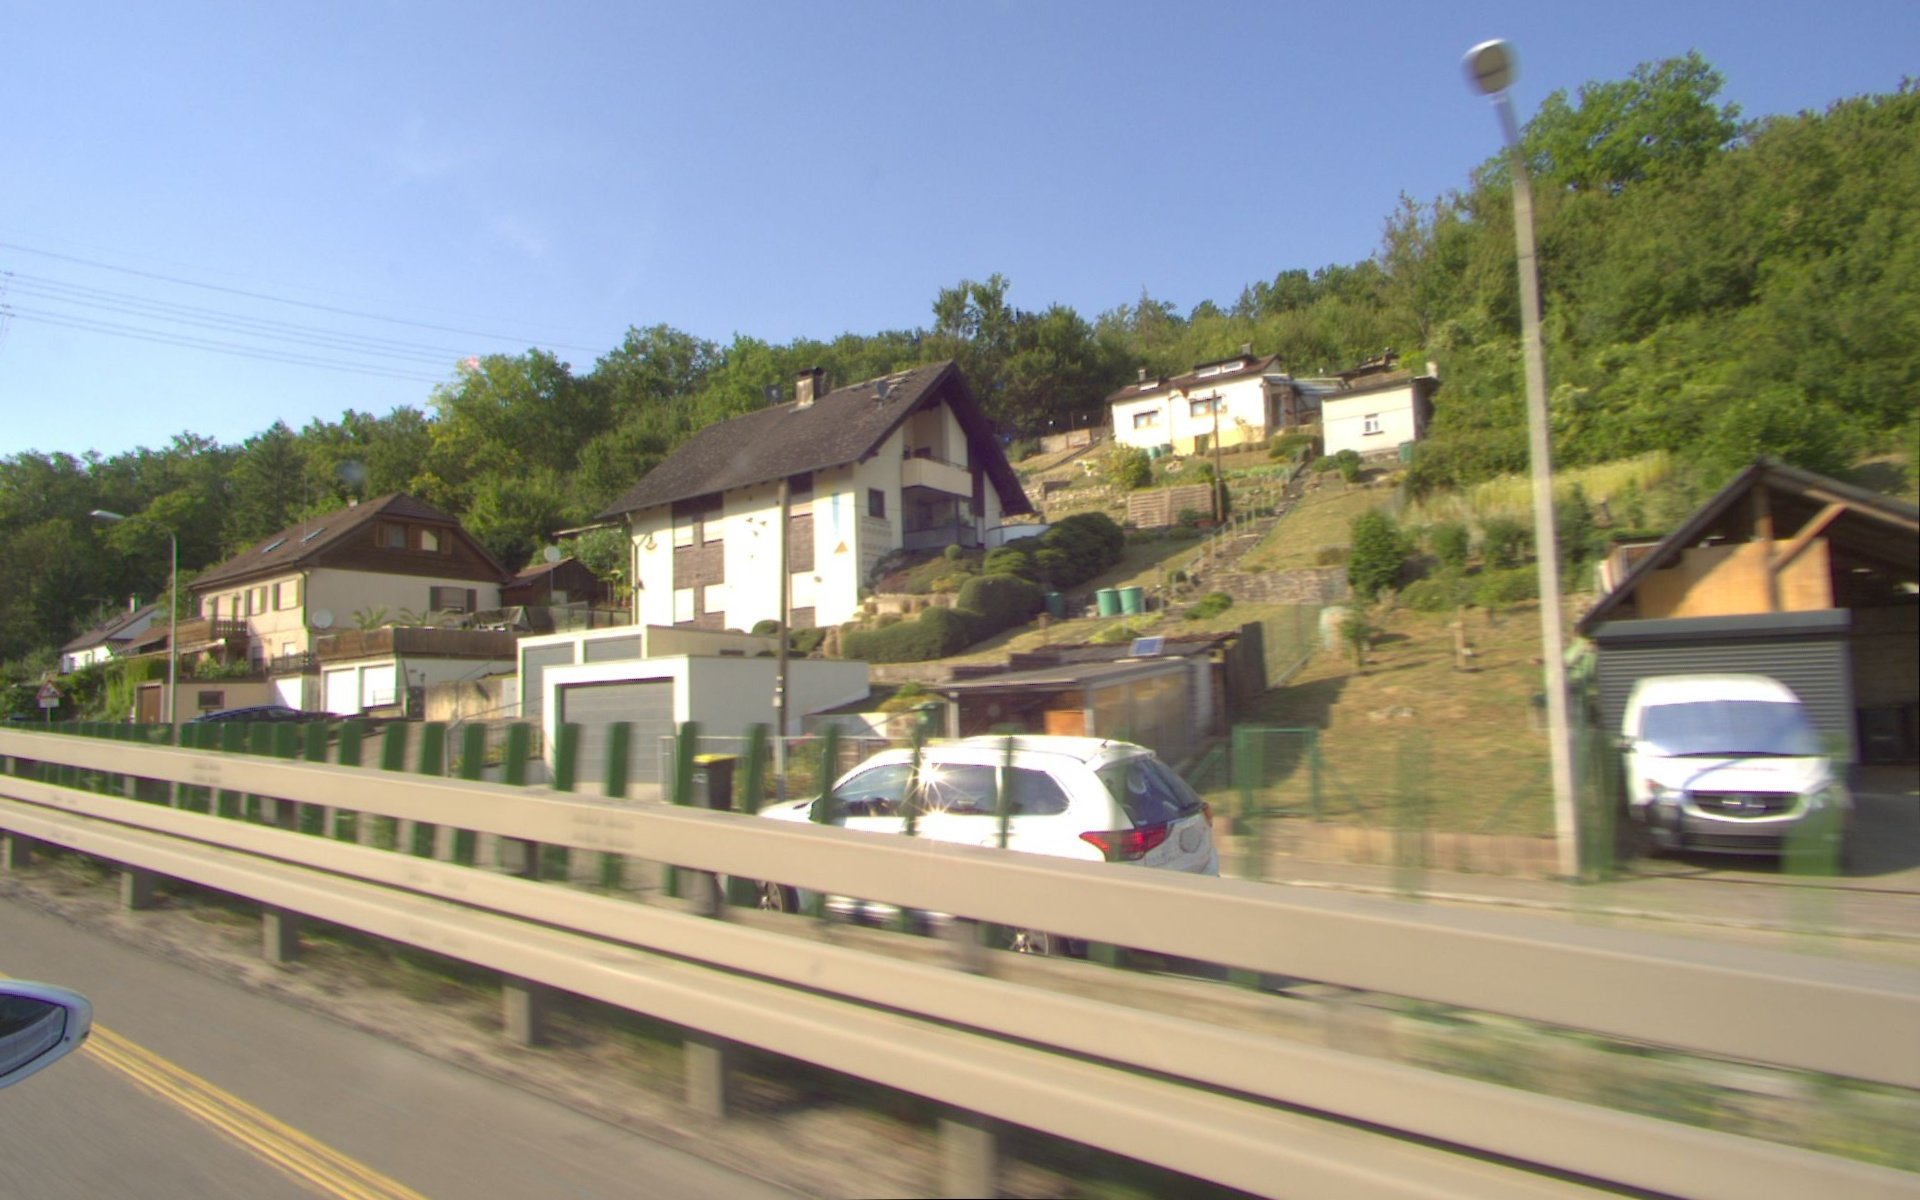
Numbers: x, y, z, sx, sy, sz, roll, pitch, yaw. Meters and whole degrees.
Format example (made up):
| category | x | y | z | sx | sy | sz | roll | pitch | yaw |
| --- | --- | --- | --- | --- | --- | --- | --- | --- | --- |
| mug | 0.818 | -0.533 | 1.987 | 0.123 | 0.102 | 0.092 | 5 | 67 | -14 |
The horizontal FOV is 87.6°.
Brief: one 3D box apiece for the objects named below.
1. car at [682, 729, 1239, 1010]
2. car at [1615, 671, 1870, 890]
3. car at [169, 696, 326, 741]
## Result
| category | x | y | z | sx | sy | sz | roll | pitch | yaw |
| --- | --- | --- | --- | --- | --- | --- | --- | --- | --- |
| car | -0.168 | 2.009 | 8.543 | 4.587 | 1.678 | 1.695 | -4 | -5 | 34 |
| car | 8.692 | 1.847 | 11.489 | 1.826 | 1.759 | 4.121 | -4 | -2 | 32 |
| car | -24.648 | 4.114 | 34.775 | 1.865 | 1.458 | 3.985 | -5 | -8 | 31 |
